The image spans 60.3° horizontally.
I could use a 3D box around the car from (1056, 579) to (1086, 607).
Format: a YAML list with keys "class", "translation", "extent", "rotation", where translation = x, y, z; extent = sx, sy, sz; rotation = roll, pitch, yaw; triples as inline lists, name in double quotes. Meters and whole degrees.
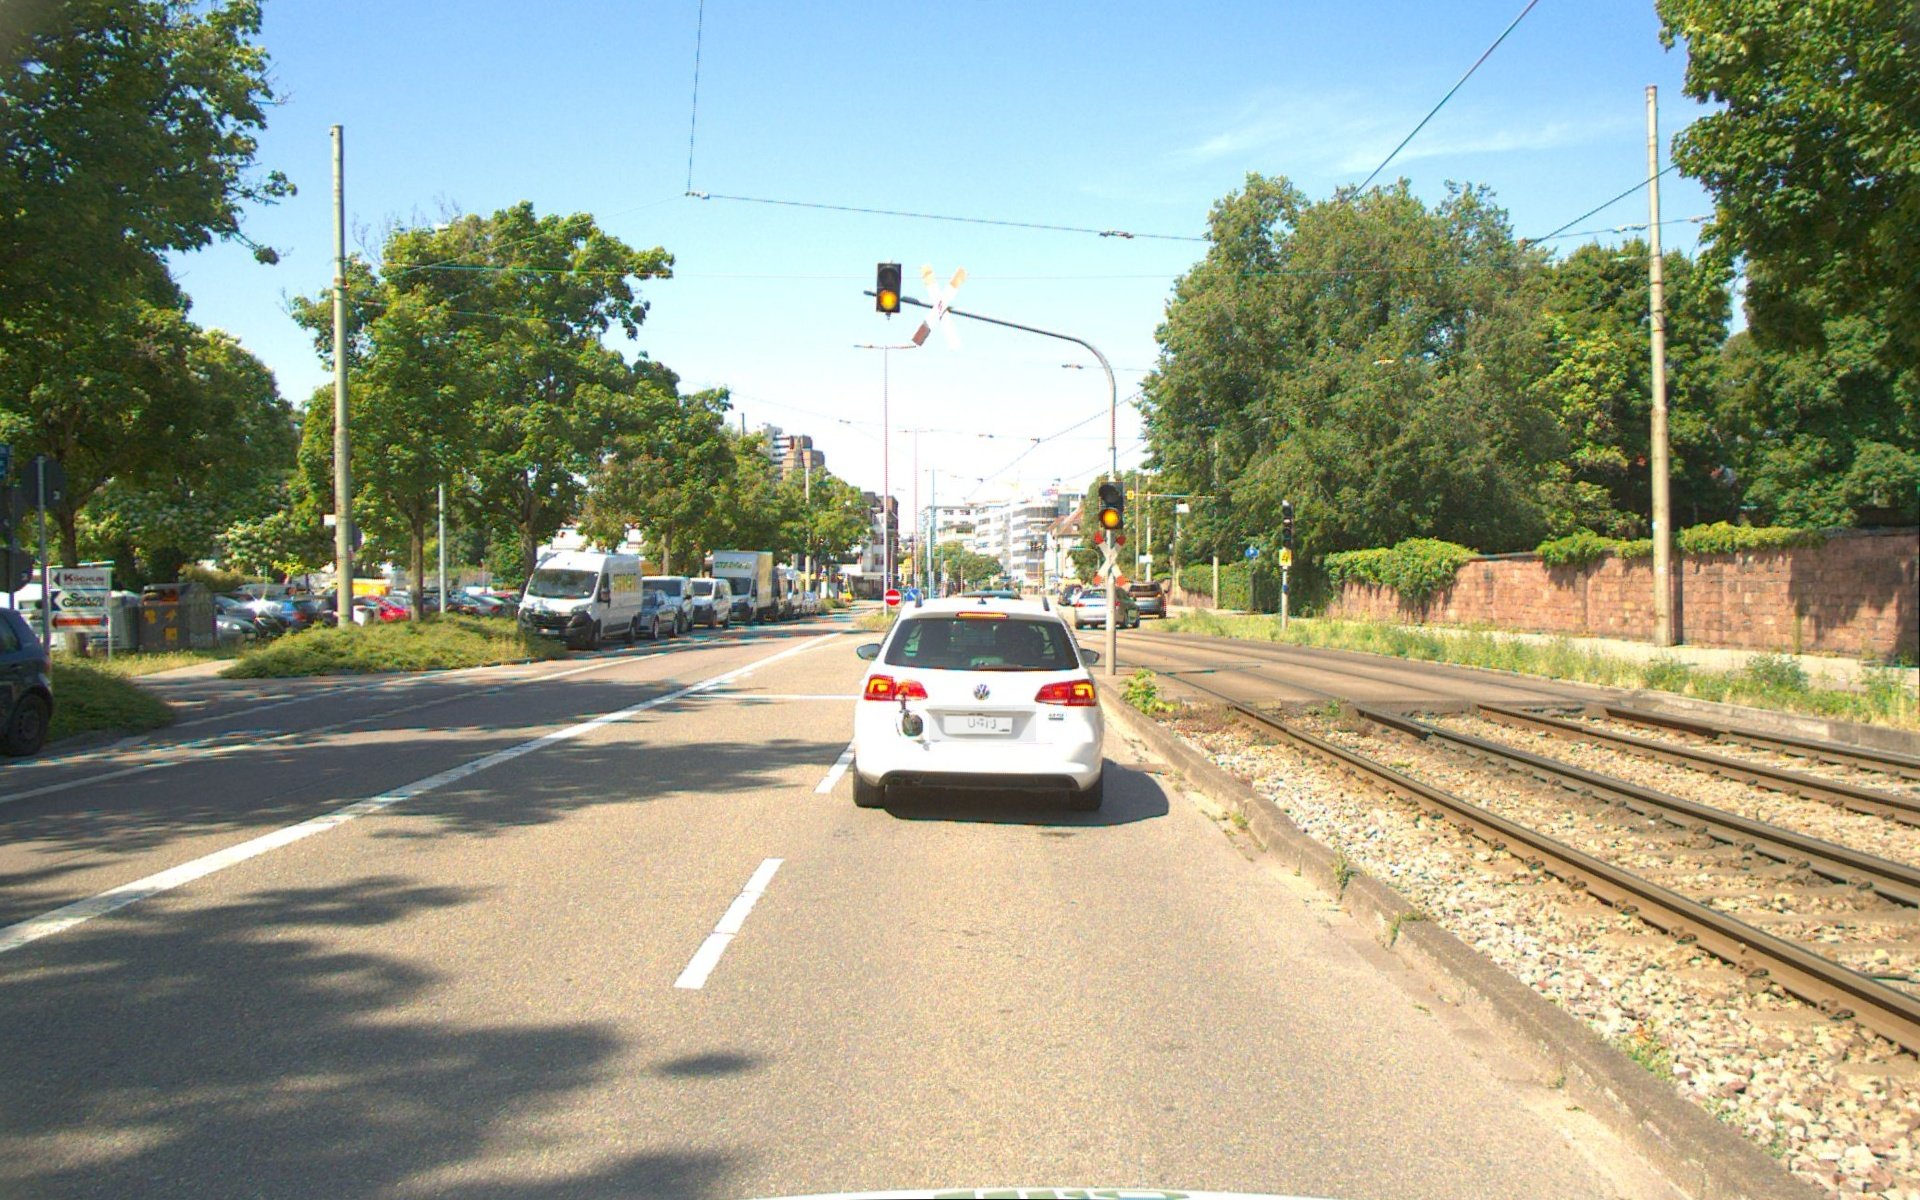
- class: "car"
  translation: [10.442, -0.638, 156.127]
  extent: [2.412, 2.542, 5.910]
  rotation: [2, 0, 0]

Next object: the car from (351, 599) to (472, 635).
- class: "car"
  translation: [-20.546, 0.627, 62.030]
  extent: [3.903, 1.246, 1.772]
  rotation: [-1, 0, 3]

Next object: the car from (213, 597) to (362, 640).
- class: "car"
  translation: [-20.991, 0.575, 51.741]
  extent: [3.903, 1.246, 1.772]
  rotation: [-1, 0, 3]

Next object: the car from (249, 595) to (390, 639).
- class: "car"
  translation: [-21.030, 0.554, 54.371]
  extent: [3.903, 1.373, 1.772]
  rotation: [-1, 0, 3]

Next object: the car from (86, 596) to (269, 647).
- class: "car"
  translation: [-20.420, 0.556, 43.251]
  extent: [3.906, 1.246, 1.771]
  rotation: [-1, 0, -2]

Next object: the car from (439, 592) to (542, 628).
- class: "car"
  translation: [-20.327, 0.416, 71.622]
  extent: [3.903, 1.469, 1.772]
  rotation: [-1, 0, 3]

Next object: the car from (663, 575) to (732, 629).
- class: "car"
  translation: [-10.199, 0.046, 64.551]
  extent: [1.805, 1.995, 5.134]
  rotation: [-1, 0, 1]

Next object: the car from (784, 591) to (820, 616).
- class: "car"
  translation: [-9.932, 0.205, 104.093]
  extent: [1.806, 1.458, 4.038]
  rotation: [-1, 0, 0]

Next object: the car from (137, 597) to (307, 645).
- class: "car"
  translation: [-20.395, 0.574, 45.822]
  extent: [3.906, 1.246, 1.771]
  rotation: [-1, 0, -2]

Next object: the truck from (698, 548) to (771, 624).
- class: "truck"
  translation: [-9.911, -0.618, 73.331]
  extent: [2.308, 3.177, 6.891]
  rotation: [-1, 0, -1]

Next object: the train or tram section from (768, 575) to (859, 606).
- class: "train or tram section"
  translation: [-17.075, -1.163, 191.843]
  extent: [11.025, 3.309, 2.305]
  rotation: [2, 0, 29]

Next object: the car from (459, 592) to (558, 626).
- class: "car"
  translation: [-20.238, 0.388, 74.167]
  extent: [3.903, 1.469, 1.772]
  rotation: [-1, 0, 3]

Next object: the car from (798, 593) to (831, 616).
- class: "car"
  translation: [-9.587, 0.272, 109.113]
  extent: [1.744, 1.458, 4.038]
  rotation: [-1, 0, 0]

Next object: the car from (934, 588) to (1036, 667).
- class: "car"
  translation: [0.545, 0.483, 32.436]
  extent: [1.709, 1.412, 3.915]
  rotation: [1, 1, 5]

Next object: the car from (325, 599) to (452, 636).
- class: "car"
  translation: [-20.505, 0.606, 59.454]
  extent: [3.903, 1.246, 1.772]
  rotation: [-1, 0, 3]

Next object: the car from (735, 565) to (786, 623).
- class: "car"
  translation: [-9.701, -0.326, 80.665]
  extent: [1.805, 2.715, 5.004]
  rotation: [-1, 0, 1]

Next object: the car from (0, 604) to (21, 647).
- class: "car"
  translation: [-33.199, 0.765, 54.463]
  extent: [3.694, 1.380, 1.558]
  rotation: [3, 1, 4]

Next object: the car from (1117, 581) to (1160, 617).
- class: "car"
  translation: [8.210, -0.060, 76.274]
  extent: [1.822, 1.539, 3.915]
  rotation: [2, 0, 4]

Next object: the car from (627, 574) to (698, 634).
- class: "car"
  translation: [-10.340, 0.099, 57.804]
  extent: [1.807, 1.971, 5.190]
  rotation: [-1, 0, -4]

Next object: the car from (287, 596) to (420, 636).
- class: "car"
  translation: [-20.870, 0.539, 56.995]
  extent: [3.903, 1.286, 1.772]
  rotation: [-1, 0, 3]

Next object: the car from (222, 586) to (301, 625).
- class: "car"
  translation: [-35.685, 0.268, 84.558]
  extent: [3.354, 1.909, 1.552]
  rotation: [-1, 0, -2]

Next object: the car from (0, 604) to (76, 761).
- class: "car"
  translation: [-9.996, 0.788, 15.086]
  extent: [1.607, 1.476, 4.005]
  rotation: [2, 0, 1]

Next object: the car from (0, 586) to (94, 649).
- class: "car"
  translation: [-32.658, 0.555, 56.879]
  extent: [4.601, 2.049, 1.998]
  rotation: [2, 0, -5]

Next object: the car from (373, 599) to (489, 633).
- class: "car"
  translation: [-20.549, 0.598, 64.364]
  extent: [3.903, 1.246, 1.772]
  rotation: [-1, 0, 3]

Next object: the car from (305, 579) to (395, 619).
- class: "car"
  translation: [-33.025, -0.041, 89.628]
  extent: [4.174, 2.049, 1.998]
  rotation: [2, 0, -6]

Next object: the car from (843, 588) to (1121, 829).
- class: "car"
  translation: [0.122, 0.676, 12.470]
  extent: [1.732, 1.471, 3.913]
  rotation: [2, 1, -1]

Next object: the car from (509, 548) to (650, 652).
- class: "car"
  translation: [-10.242, -0.033, 45.061]
  extent: [2.016, 2.544, 6.310]
  rotation: [2, 1, 3]

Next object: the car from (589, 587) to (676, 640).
- class: "car"
  translation: [-10.067, 0.394, 51.118]
  extent: [1.806, 1.543, 4.197]
  rotation: [-1, 0, 0]

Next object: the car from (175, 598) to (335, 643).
- class: "car"
  translation: [-20.665, 0.590, 48.551]
  extent: [3.903, 1.246, 1.772]
  rotation: [-1, 0, 3]

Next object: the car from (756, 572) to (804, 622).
- class: "car"
  translation: [-9.591, -0.194, 88.461]
  extent: [1.805, 2.538, 5.857]
  rotation: [-1, 0, 1]

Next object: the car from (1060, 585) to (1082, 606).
- class: "car"
  translation: [9.888, -0.403, 147.262]
  extent: [1.656, 1.844, 3.454]
  rotation: [2, 0, 0]

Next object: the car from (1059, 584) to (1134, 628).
- class: "car"
  translation: [4.889, 0.194, 58.856]
  extent: [1.822, 1.441, 4.328]
  rotation: [2, 1, 16]

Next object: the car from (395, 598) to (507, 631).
- class: "car"
  translation: [-20.424, 0.579, 66.483]
  extent: [3.903, 1.246, 1.772]
  rotation: [-1, 0, 3]

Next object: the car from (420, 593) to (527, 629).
- class: "car"
  translation: [-20.295, 0.455, 69.119]
  extent: [3.903, 1.426, 1.772]
  rotation: [-1, 0, 3]
